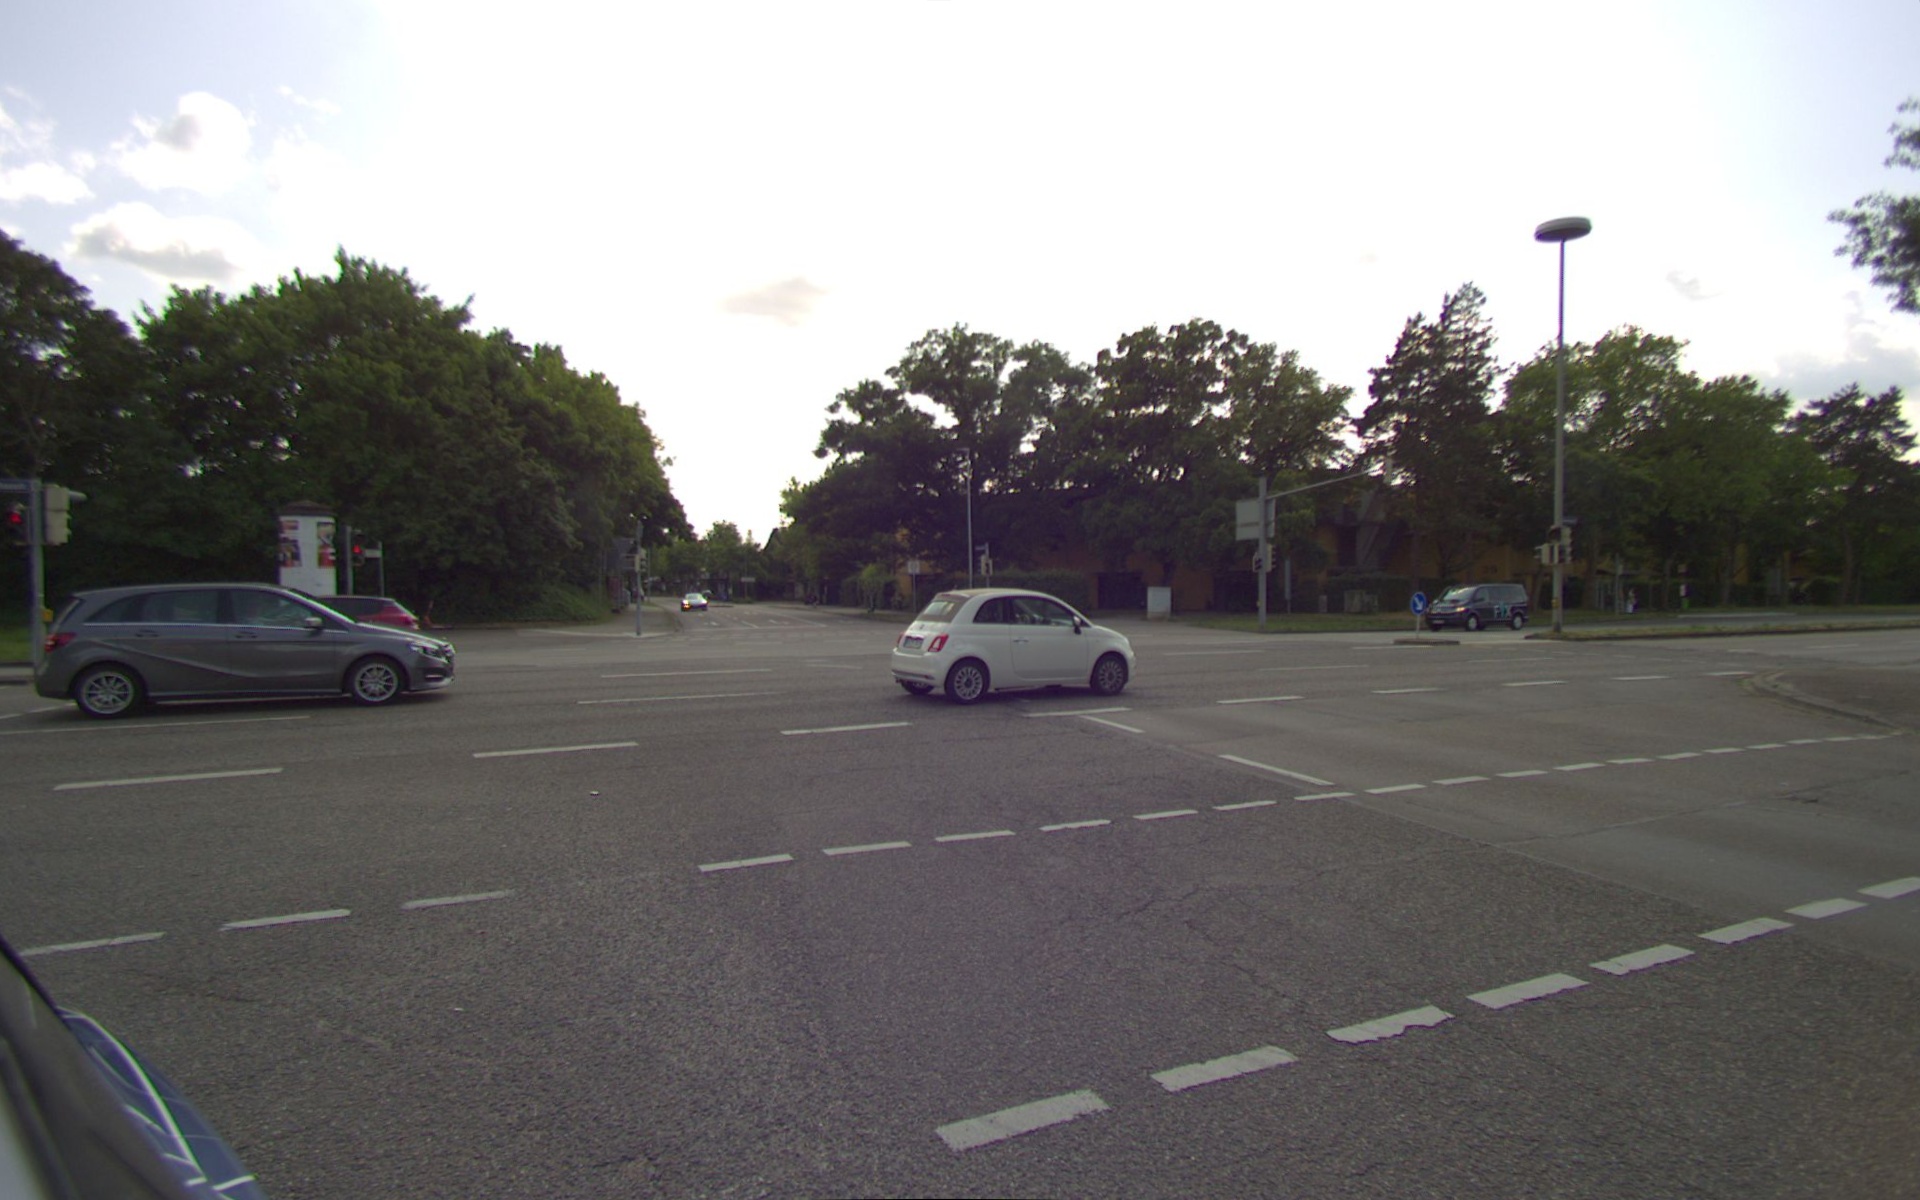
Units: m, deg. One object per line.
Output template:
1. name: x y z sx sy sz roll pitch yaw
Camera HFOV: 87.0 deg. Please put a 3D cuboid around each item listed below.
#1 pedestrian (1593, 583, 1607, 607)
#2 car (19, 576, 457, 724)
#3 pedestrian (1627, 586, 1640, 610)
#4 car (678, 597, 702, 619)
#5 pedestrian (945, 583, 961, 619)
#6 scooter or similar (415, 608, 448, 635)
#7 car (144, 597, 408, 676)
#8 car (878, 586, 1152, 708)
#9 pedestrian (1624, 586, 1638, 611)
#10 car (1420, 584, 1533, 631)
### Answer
1. pedestrian: 40.223 -0.327 63.596 0.415 1.507 0.572 0 2 -42
2. car: -8.778 0.517 12.817 4.284 1.631 1.710 0 1 -27
3. pedestrian: 41.776 -0.125 62.786 0.415 1.507 0.572 0 2 -42
4. car: -20.750 0.597 77.682 1.701 1.439 4.013 1 2 -17
5. pedestrian: -0.337 0.036 49.404 0.682 1.755 0.706 0 0 -6
6. scooter or similar: -18.789 0.777 35.994 1.018 0.949 0.298 1 2 -20
7. car: -13.960 0.684 20.977 4.379 1.476 1.783 0 0 -30
8. car: 0.780 0.574 14.055 3.479 1.508 1.580 0 0 -29
9. pedestrian: 41.030 -0.114 61.900 0.415 1.507 0.572 0 2 -42
10. car: 21.624 0.276 42.366 4.733 1.871 1.777 -1 0 -27
